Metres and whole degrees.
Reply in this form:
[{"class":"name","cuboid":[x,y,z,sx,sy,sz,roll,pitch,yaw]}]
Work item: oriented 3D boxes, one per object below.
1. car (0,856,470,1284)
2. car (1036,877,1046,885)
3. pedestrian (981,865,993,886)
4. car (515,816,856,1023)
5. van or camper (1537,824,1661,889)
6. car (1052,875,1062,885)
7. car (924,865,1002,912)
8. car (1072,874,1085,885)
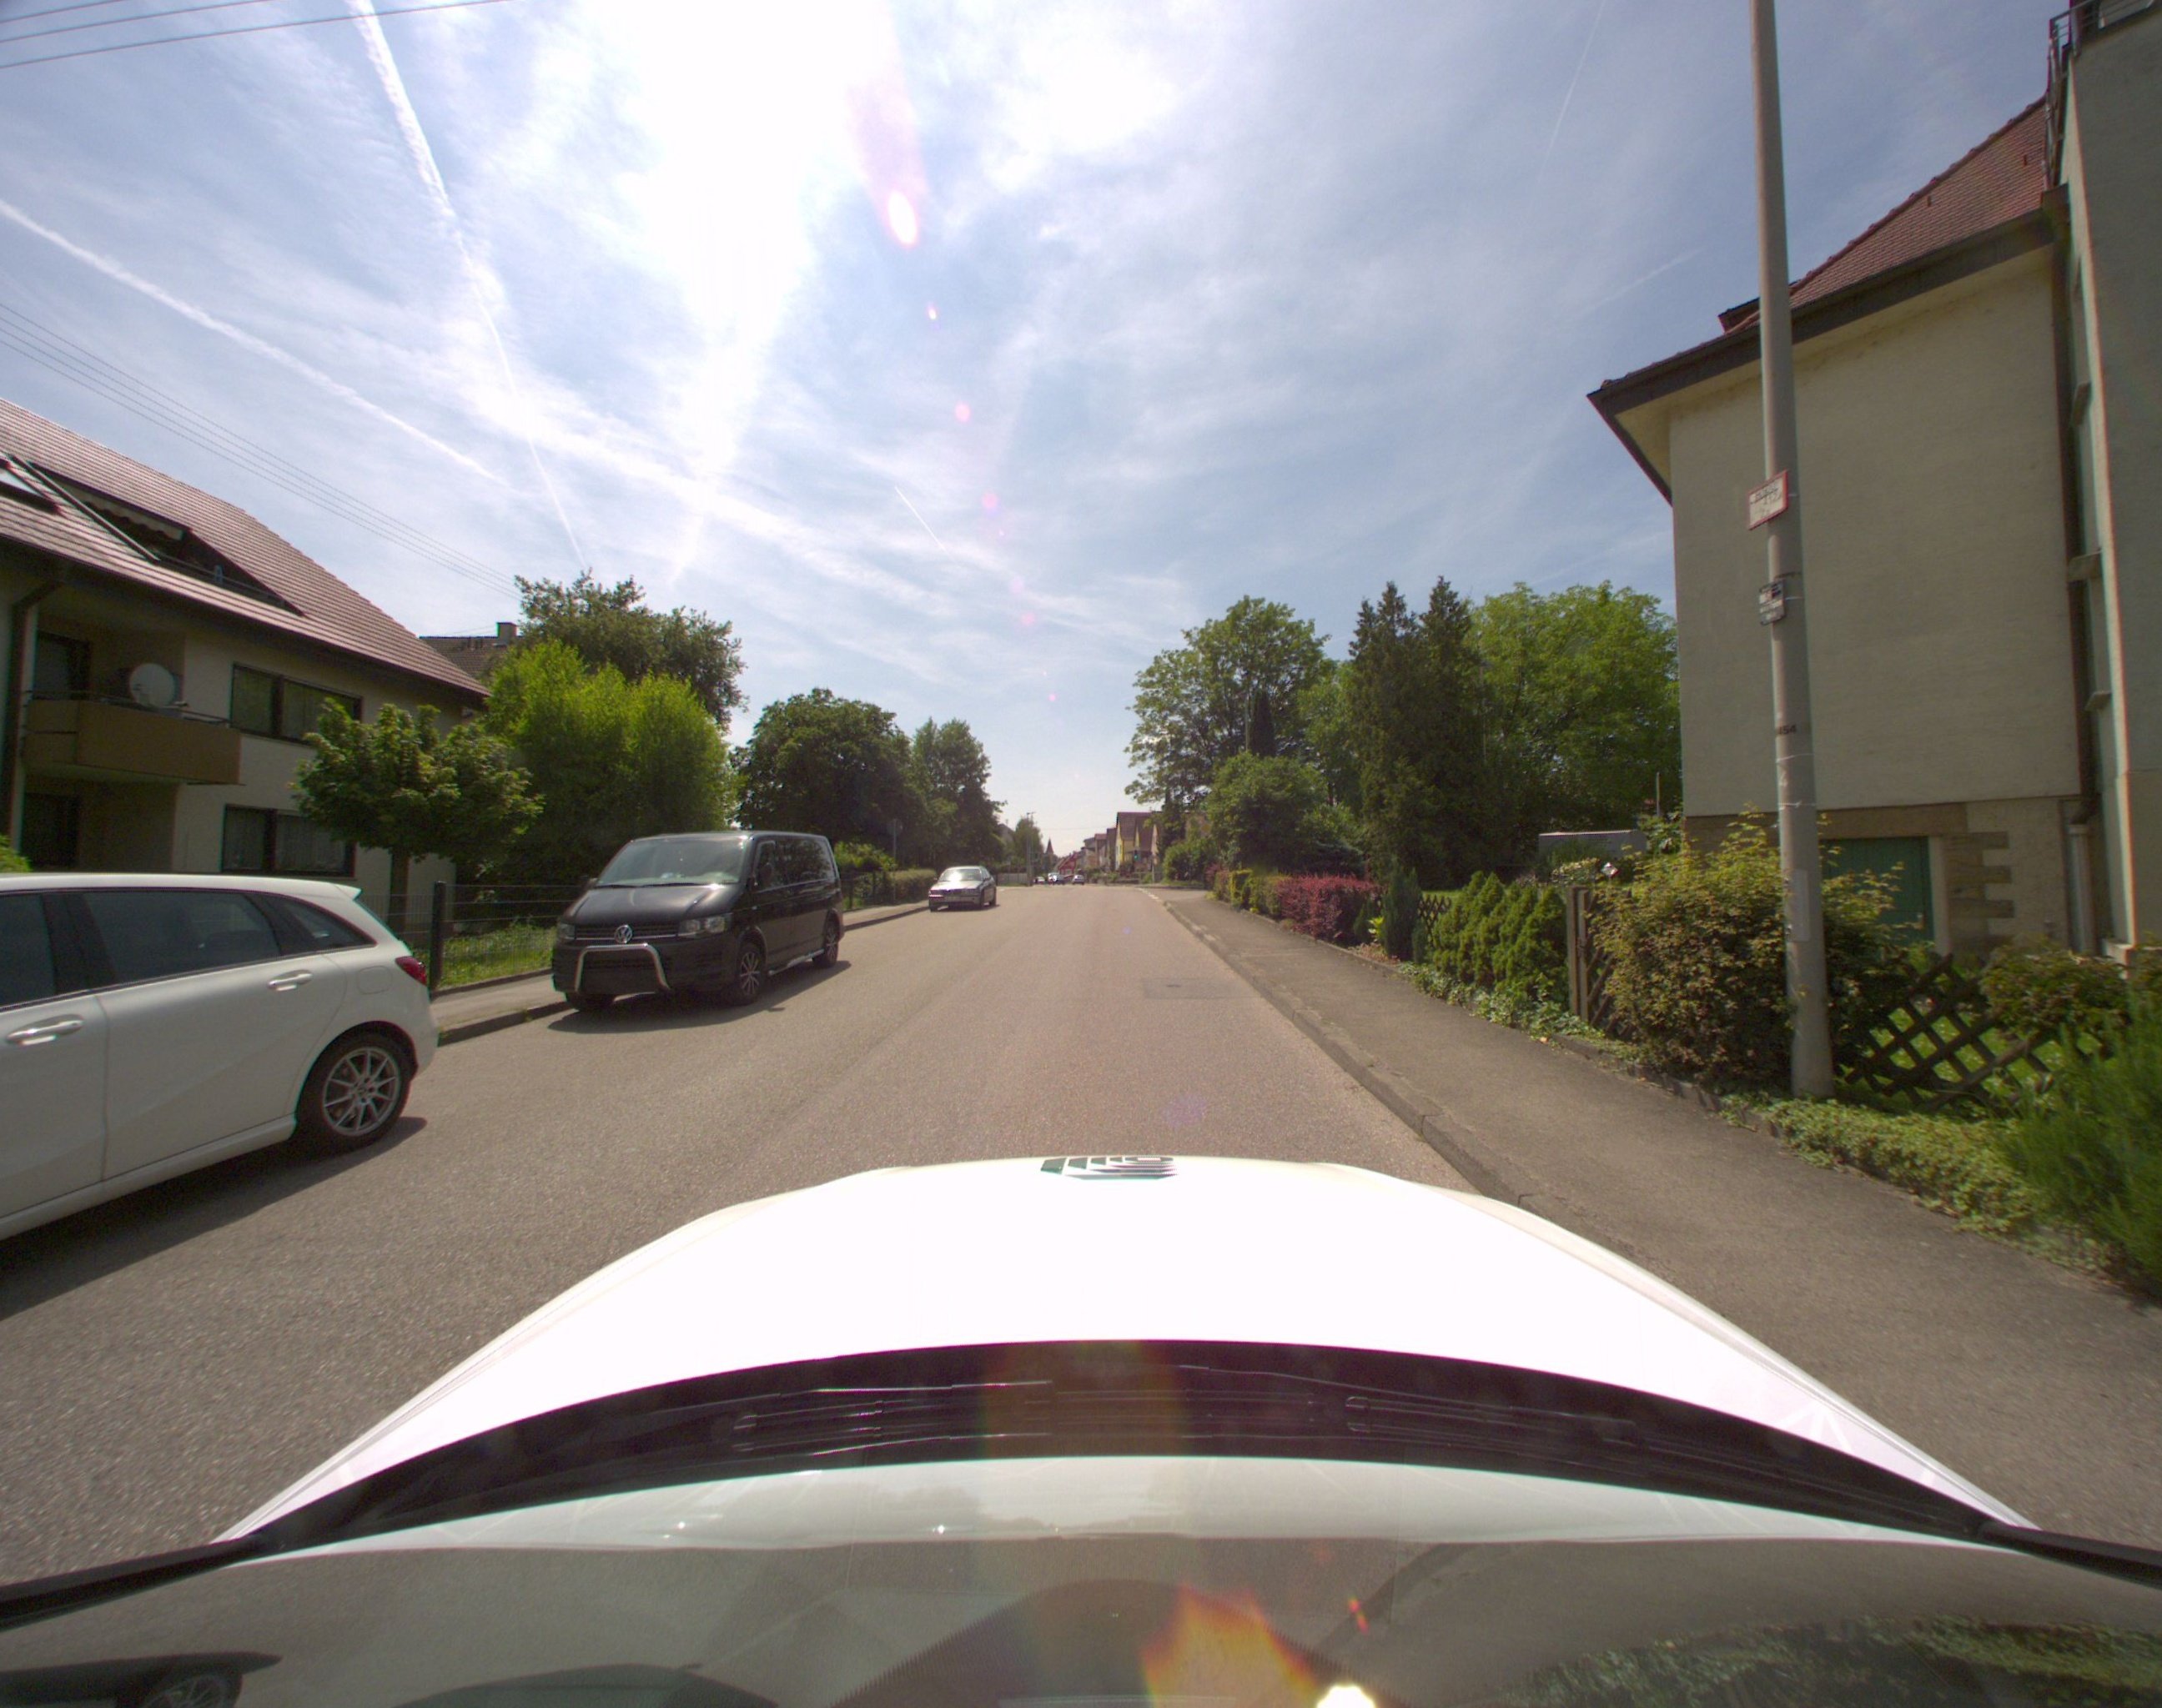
[{"class":"car","cuboid":[-4.849,0.806,3.108,1.805,1.549,4.242,-1,0,0]},{"class":"car","cuboid":[-8.597,5.801,175.383,2.104,1.561,4.312,-1,-2,0]},{"class":"pedestrian","cuboid":[-8.077,1.851,69.874,0.729,1.778,0.693,-3,-3,19]},{"class":"car","cuboid":[-4.495,0.629,10.315,1.890,1.920,4.869,-2,0,0]},{"class":"van or camper","cuboid":[18.596,0.156,29.342,1.828,2.141,3.349,4,-4,-38]},{"class":"car","cuboid":[-3.753,4.001,125.502,1.530,1.541,4.300,-1,-1,-2]},{"class":"car","cuboid":[-3.863,1.087,27.322,1.773,1.394,4.411,-2,-1,2]},{"class":"car","cuboid":[-0.418,4.227,134.914,1.987,1.603,4.000,-1,0,1]}]
